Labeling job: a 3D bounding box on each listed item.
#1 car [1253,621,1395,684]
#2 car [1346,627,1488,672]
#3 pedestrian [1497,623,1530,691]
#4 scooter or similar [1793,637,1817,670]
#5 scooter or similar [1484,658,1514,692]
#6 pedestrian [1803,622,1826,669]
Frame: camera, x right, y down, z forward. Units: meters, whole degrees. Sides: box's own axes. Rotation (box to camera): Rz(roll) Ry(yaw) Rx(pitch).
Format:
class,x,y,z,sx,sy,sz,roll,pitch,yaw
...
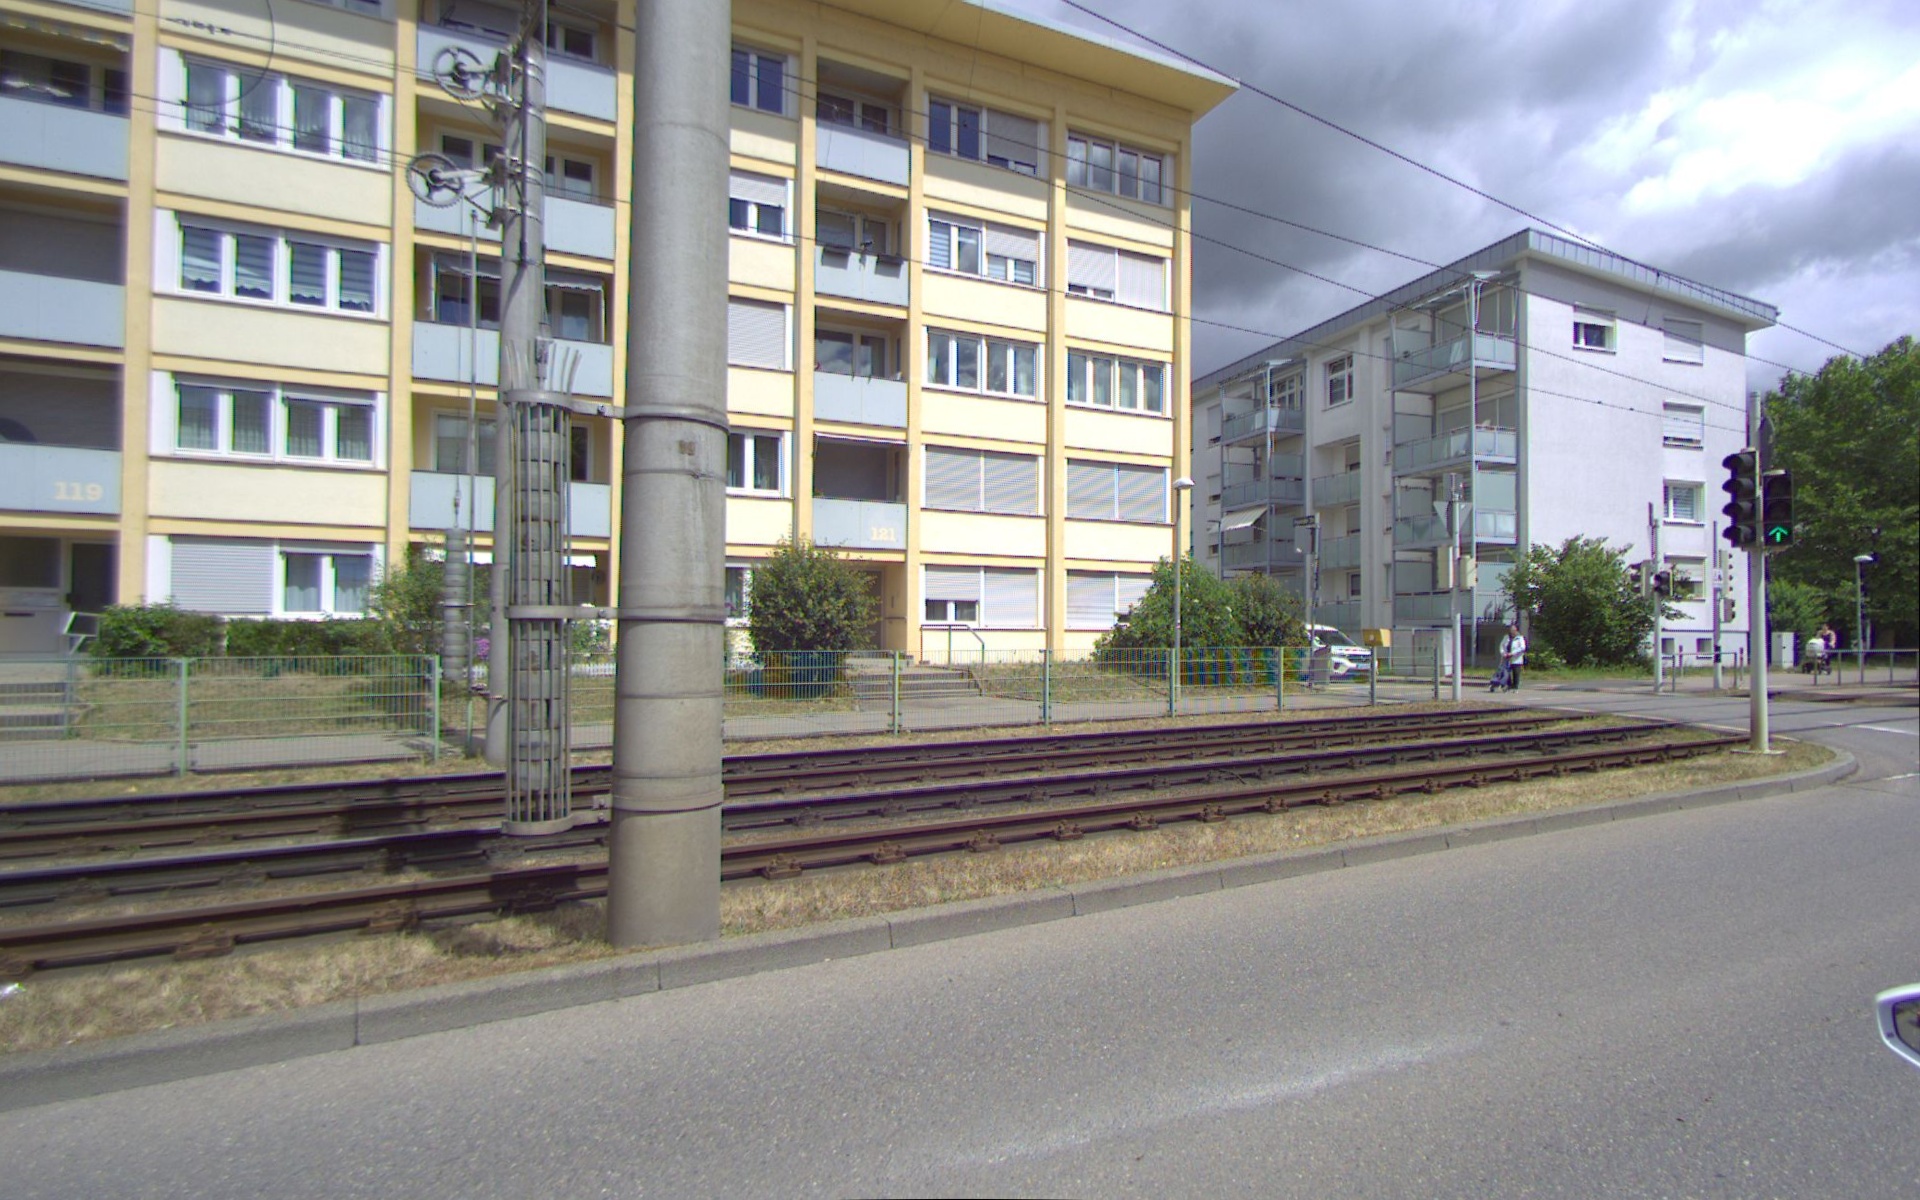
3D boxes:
class,x,y,z,sx,sy,sz,roll,pitch,yaw
car,11.130,1.571,31.008,1.970,1.673,3.980,1,0,-21
car,14.580,1.543,32.271,1.873,1.363,3.979,1,-2,-22
pedestrian,13.192,1.358,23.939,0.468,1.601,0.436,1,-3,-25
scooter or similar,27.884,1.760,33.147,0.679,1.072,0.336,1,1,-27
scooter or similar,12.702,1.760,23.661,0.468,0.757,0.436,1,-1,-25
pedestrian,28.440,1.517,33.429,0.550,1.557,0.347,1,1,-27
